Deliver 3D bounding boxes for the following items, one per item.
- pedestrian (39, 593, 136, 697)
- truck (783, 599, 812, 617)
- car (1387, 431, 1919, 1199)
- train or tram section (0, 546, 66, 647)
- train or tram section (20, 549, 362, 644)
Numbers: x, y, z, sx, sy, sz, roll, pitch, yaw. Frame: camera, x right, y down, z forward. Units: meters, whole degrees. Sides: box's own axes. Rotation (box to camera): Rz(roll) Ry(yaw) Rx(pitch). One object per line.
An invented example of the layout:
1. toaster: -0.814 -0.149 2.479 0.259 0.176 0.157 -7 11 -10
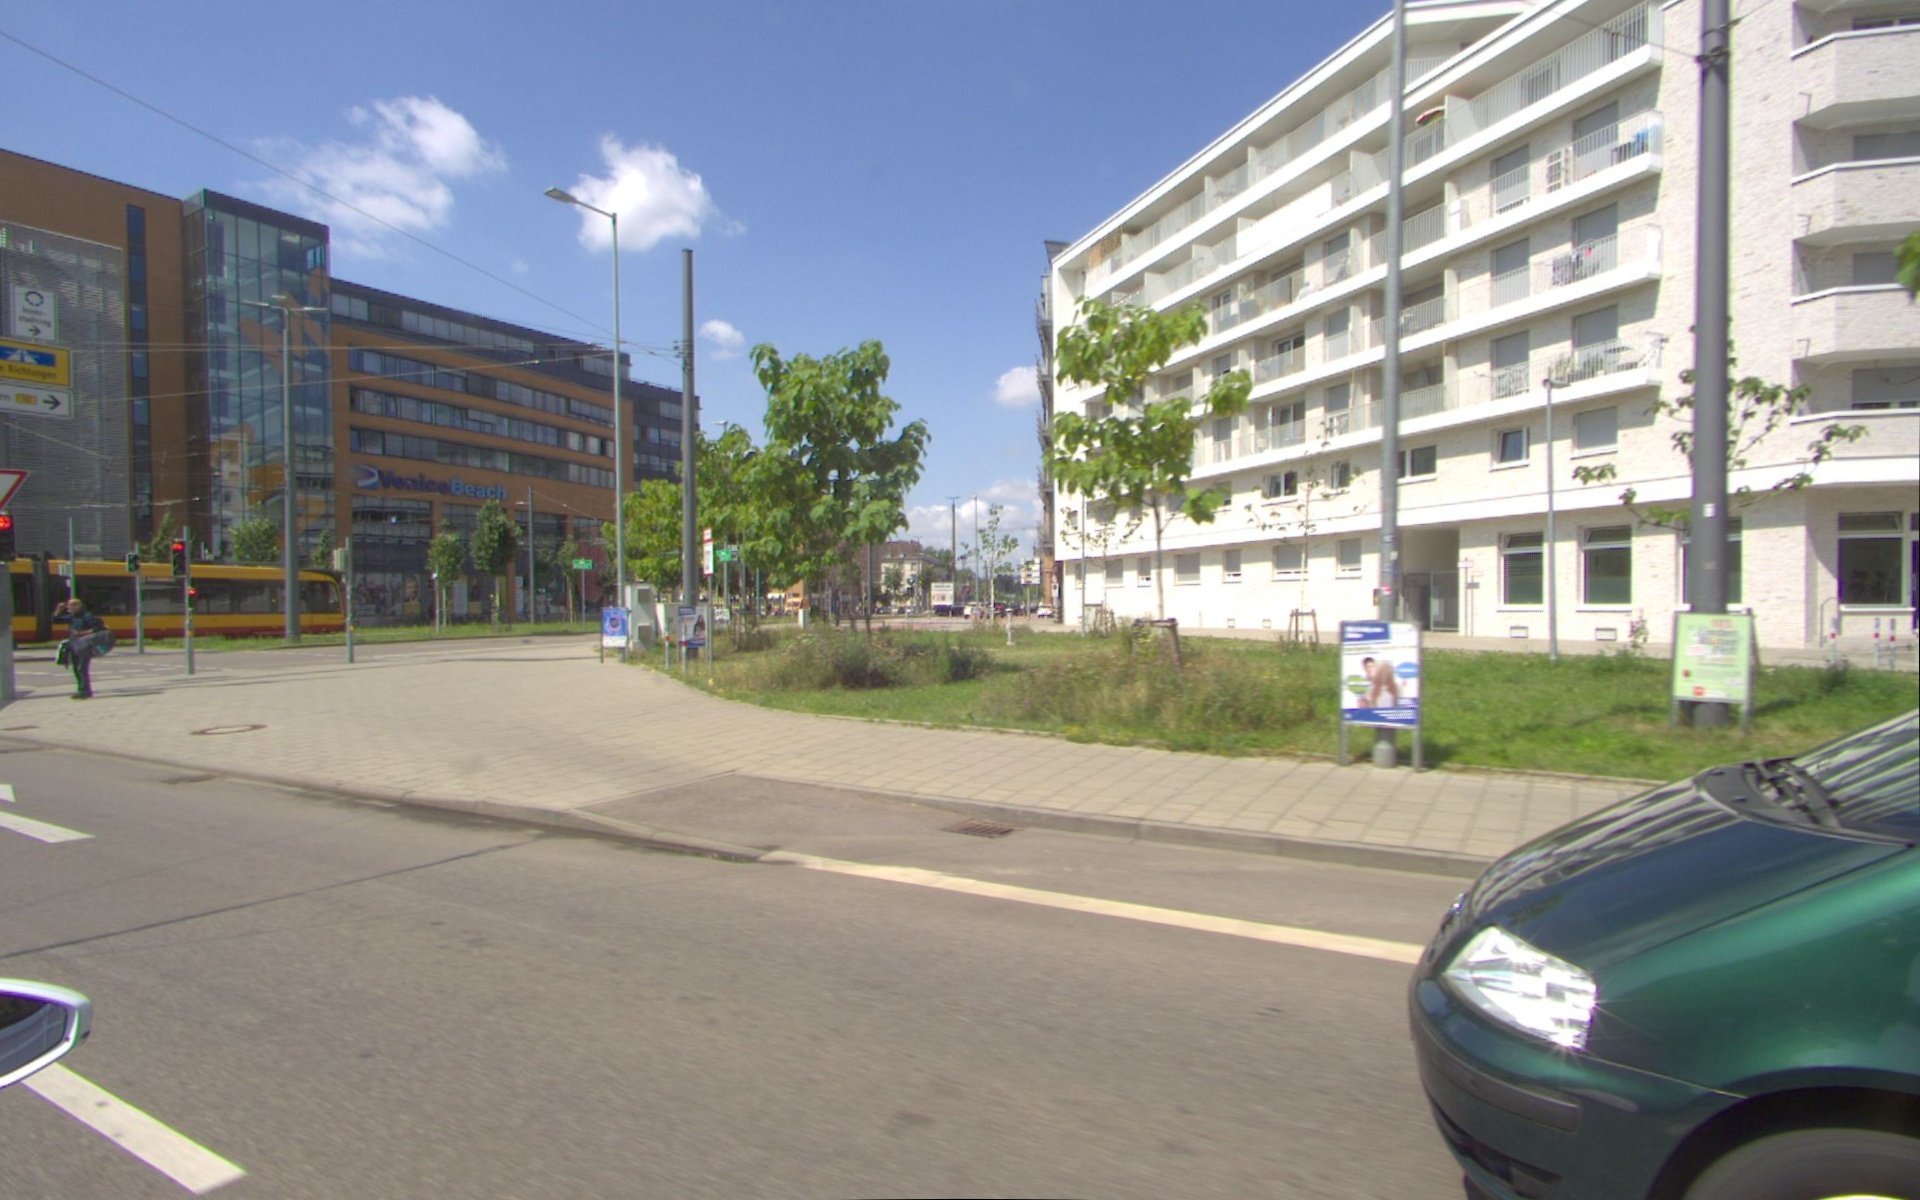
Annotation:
1. pedestrian: -14.958 0.755 17.196 0.901 1.725 0.808 -1 1 3
2. truck: -19.953 1.003 122.905 1.961 2.113 5.523 1 -1 8
3. car: 3.431 0.627 1.423 4.962 1.779 1.814 0 -1 34
4. train or tram section: -36.659 -0.209 33.217 3.006 3.650 10.991 1 -1 9
5. train or tram section: -33.623 0.015 45.000 3.011 3.668 12.615 0 -1 19
